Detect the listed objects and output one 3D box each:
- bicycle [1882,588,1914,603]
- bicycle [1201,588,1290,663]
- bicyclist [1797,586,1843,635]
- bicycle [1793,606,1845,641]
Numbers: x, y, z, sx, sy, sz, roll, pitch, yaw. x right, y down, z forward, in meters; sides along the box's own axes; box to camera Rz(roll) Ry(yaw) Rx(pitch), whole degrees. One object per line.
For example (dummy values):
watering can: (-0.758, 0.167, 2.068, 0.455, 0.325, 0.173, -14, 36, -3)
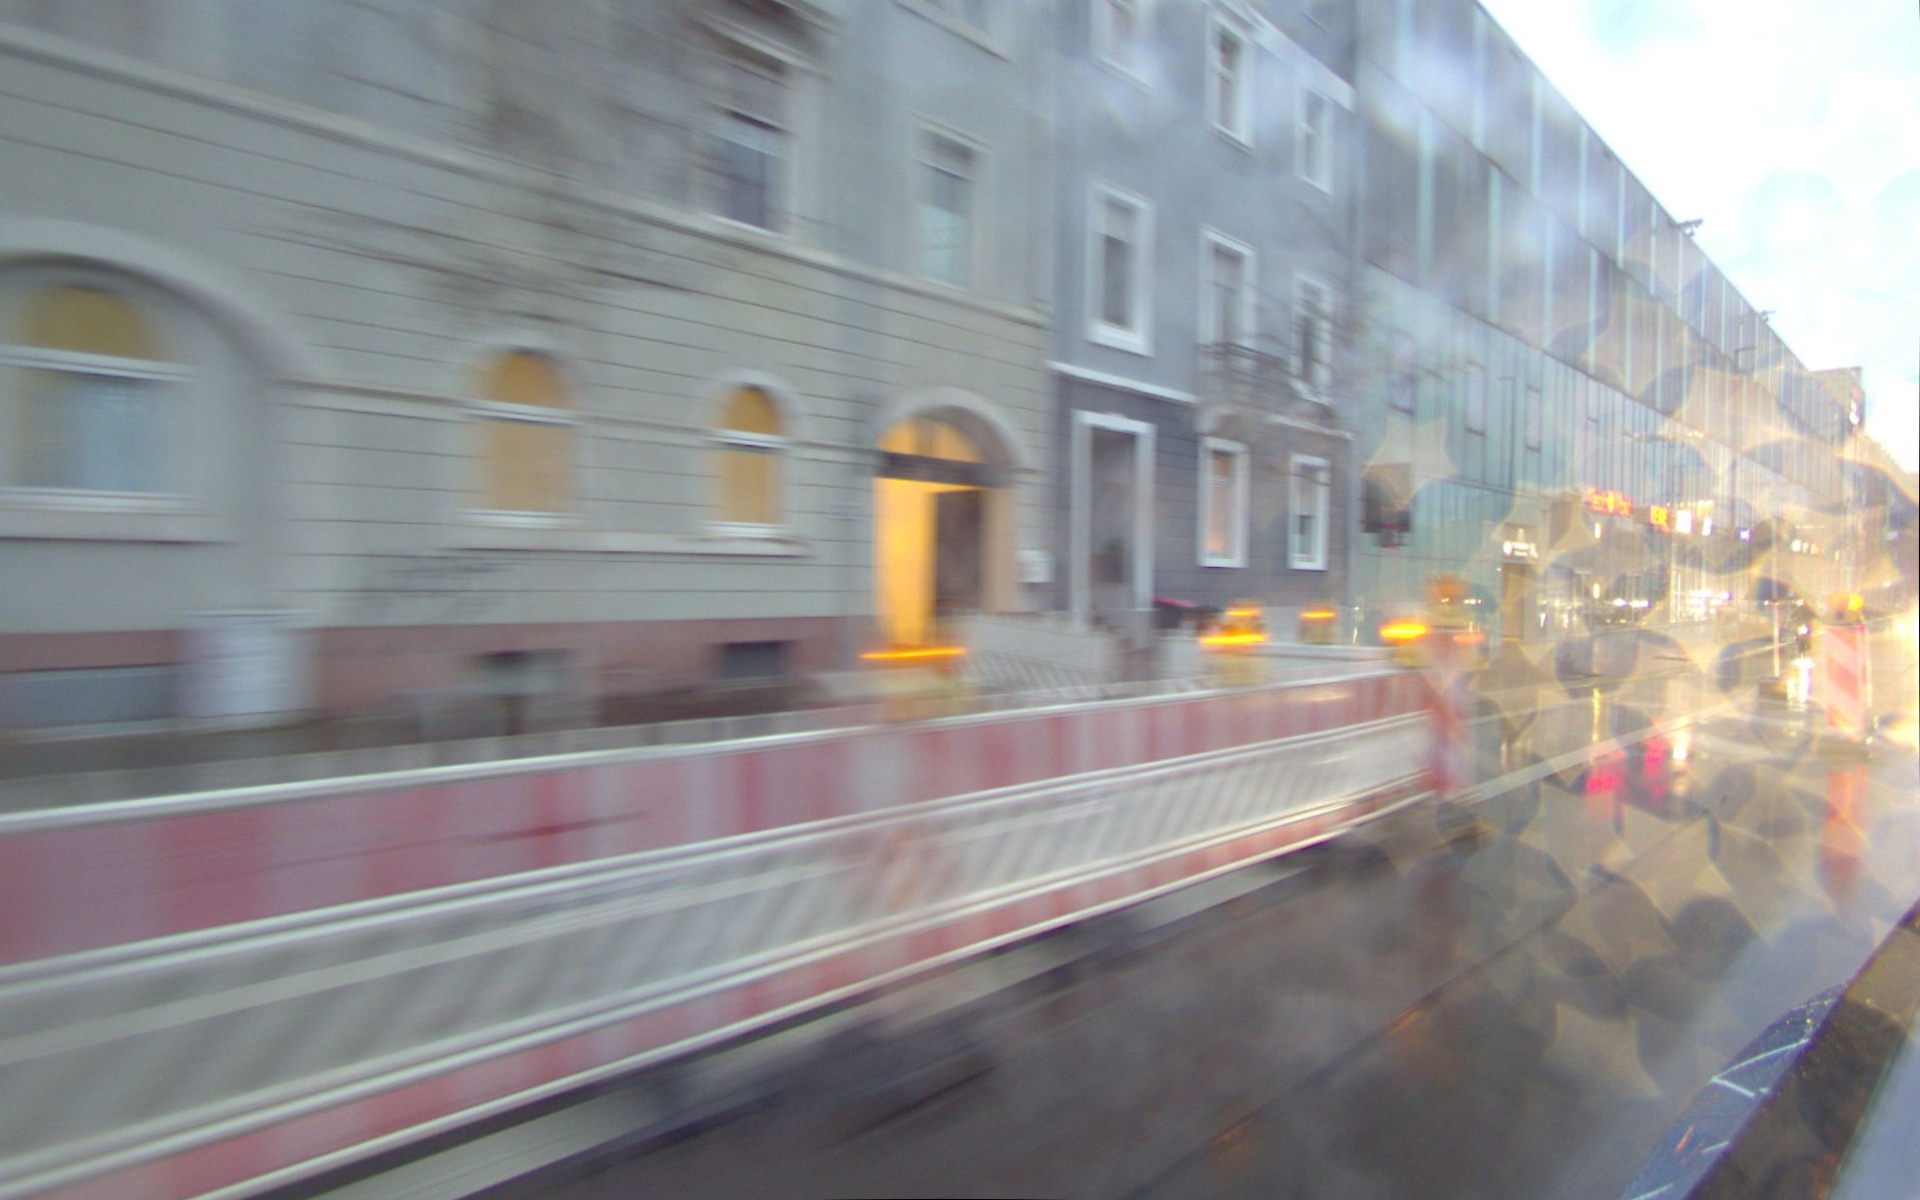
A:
bicycle: (78.241, -0.379, 84.409, 0.655, 1.189, 1.906, 0, 2, -43)
bicycle: (5.201, 0.432, 18.376, 1.875, 1.236, 0.683, -1, 4, -45)
bicyclist: (26.542, 0.302, 31.243, 1.048, 1.481, 0.944, -1, 0, -42)
bicycle: (26.607, 0.704, 31.322, 2.202, 1.012, 0.944, -1, 0, -42)
